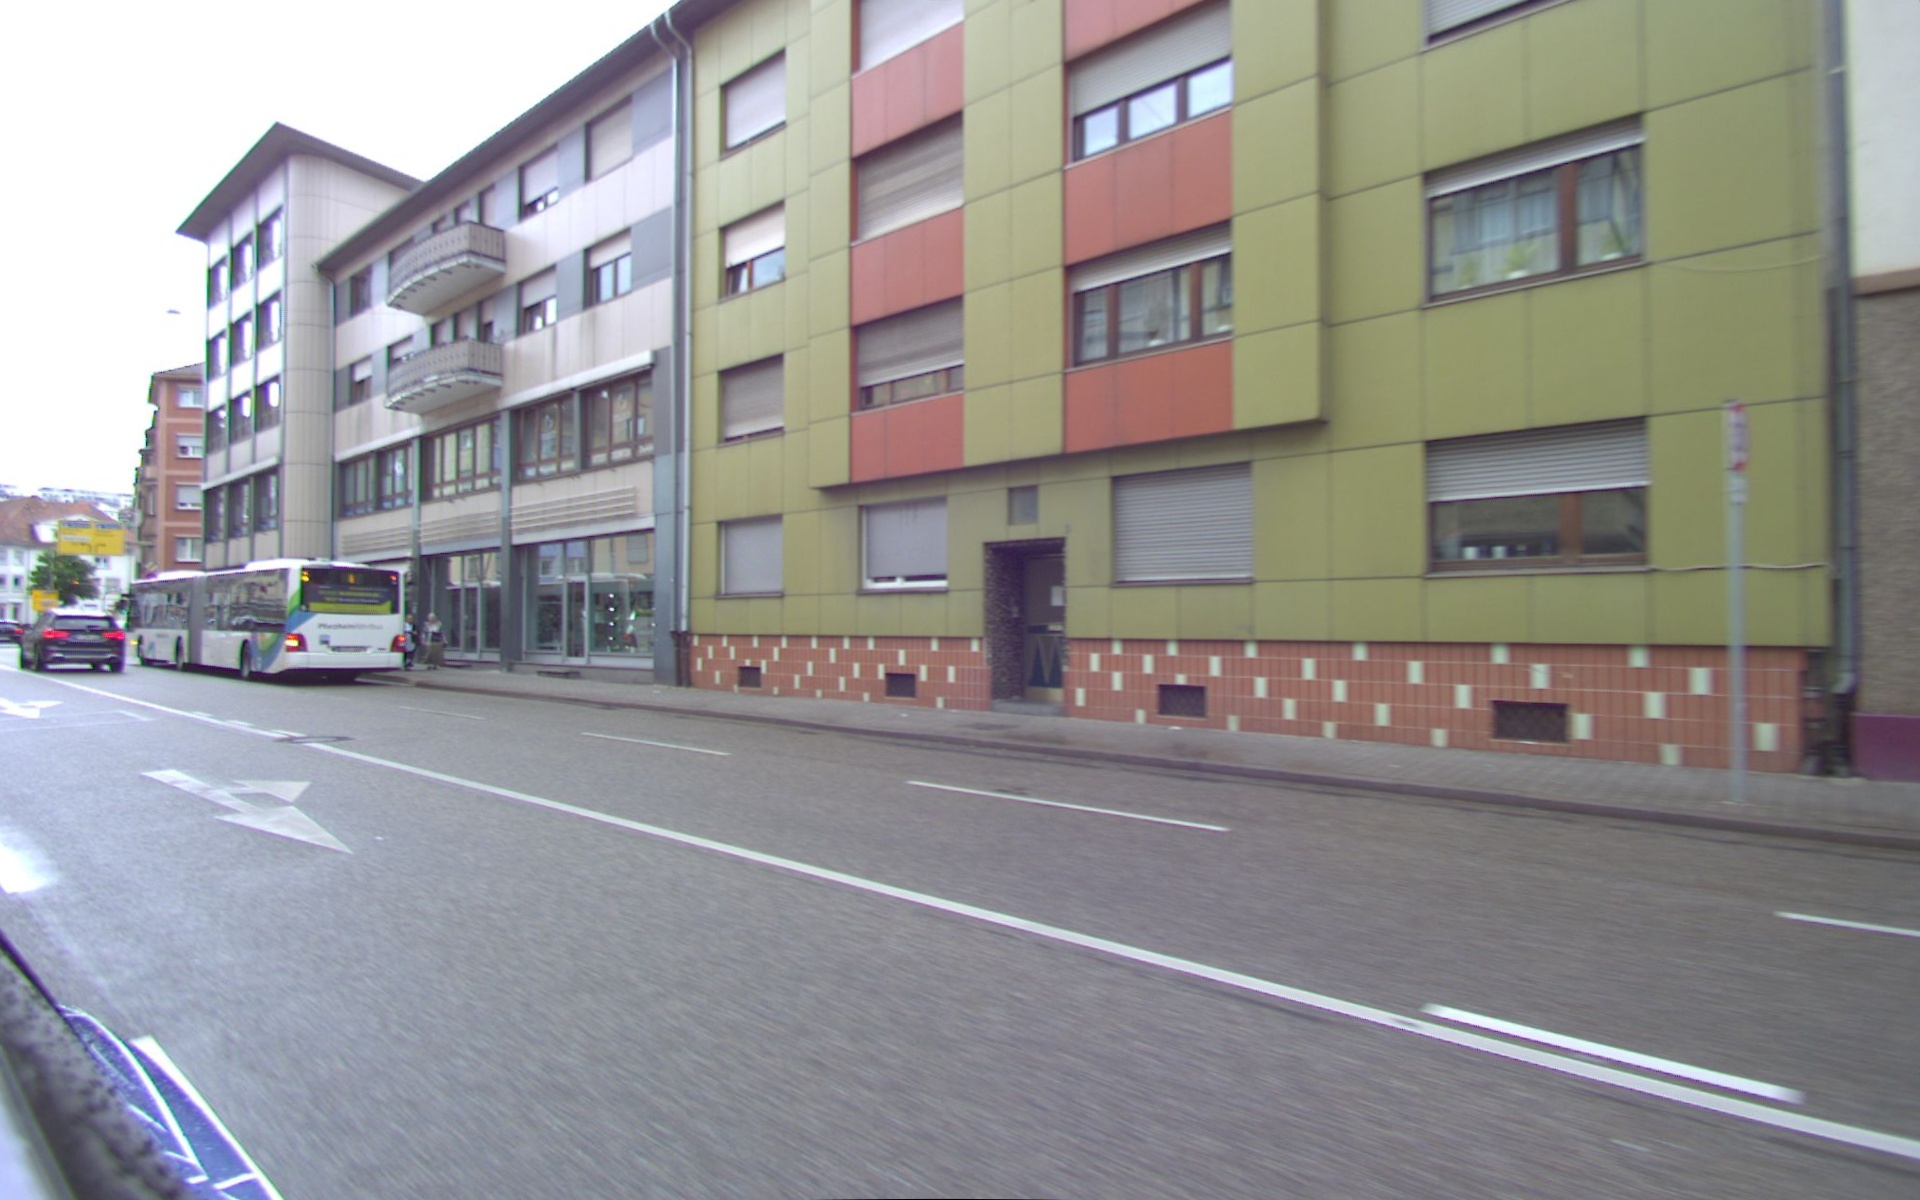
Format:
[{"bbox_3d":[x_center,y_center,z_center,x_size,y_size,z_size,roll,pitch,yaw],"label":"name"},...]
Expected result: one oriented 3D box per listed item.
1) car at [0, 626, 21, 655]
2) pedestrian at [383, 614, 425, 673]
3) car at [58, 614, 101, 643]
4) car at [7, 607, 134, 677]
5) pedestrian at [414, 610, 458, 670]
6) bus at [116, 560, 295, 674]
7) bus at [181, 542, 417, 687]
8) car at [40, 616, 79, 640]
[{"bbox_3d":[-51.552,2.125,53.931,4.083,1.462,1.691,-1,-2,40],"label":"car"},{"bbox_3d":[-15.032,1.165,27.360,0.711,1.546,0.791,-1,-2,41],"label":"pedestrian"},{"bbox_3d":[-77.386,2.514,88.916,6.351,2.454,2.064,-1,-2,42],"label":"car"},{"bbox_3d":[-24.710,1.107,28.064,4.568,1.770,1.911,-1,-2,39],"label":"car"},{"bbox_3d":[-14.401,1.093,27.822,0.711,1.627,0.828,-1,-2,41],"label":"pedestrian"},{"bbox_3d":[-24.358,0.538,32.435,8.907,3.213,2.730,-1,-2,41],"label":"bus"},{"bbox_3d":[-17.491,0.386,26.438,9.288,3.213,2.697,-1,-2,41],"label":"bus"},{"bbox_3d":[-63.327,1.985,71.210,1.720,1.674,4.426,1,-3,-37],"label":"car"}]
